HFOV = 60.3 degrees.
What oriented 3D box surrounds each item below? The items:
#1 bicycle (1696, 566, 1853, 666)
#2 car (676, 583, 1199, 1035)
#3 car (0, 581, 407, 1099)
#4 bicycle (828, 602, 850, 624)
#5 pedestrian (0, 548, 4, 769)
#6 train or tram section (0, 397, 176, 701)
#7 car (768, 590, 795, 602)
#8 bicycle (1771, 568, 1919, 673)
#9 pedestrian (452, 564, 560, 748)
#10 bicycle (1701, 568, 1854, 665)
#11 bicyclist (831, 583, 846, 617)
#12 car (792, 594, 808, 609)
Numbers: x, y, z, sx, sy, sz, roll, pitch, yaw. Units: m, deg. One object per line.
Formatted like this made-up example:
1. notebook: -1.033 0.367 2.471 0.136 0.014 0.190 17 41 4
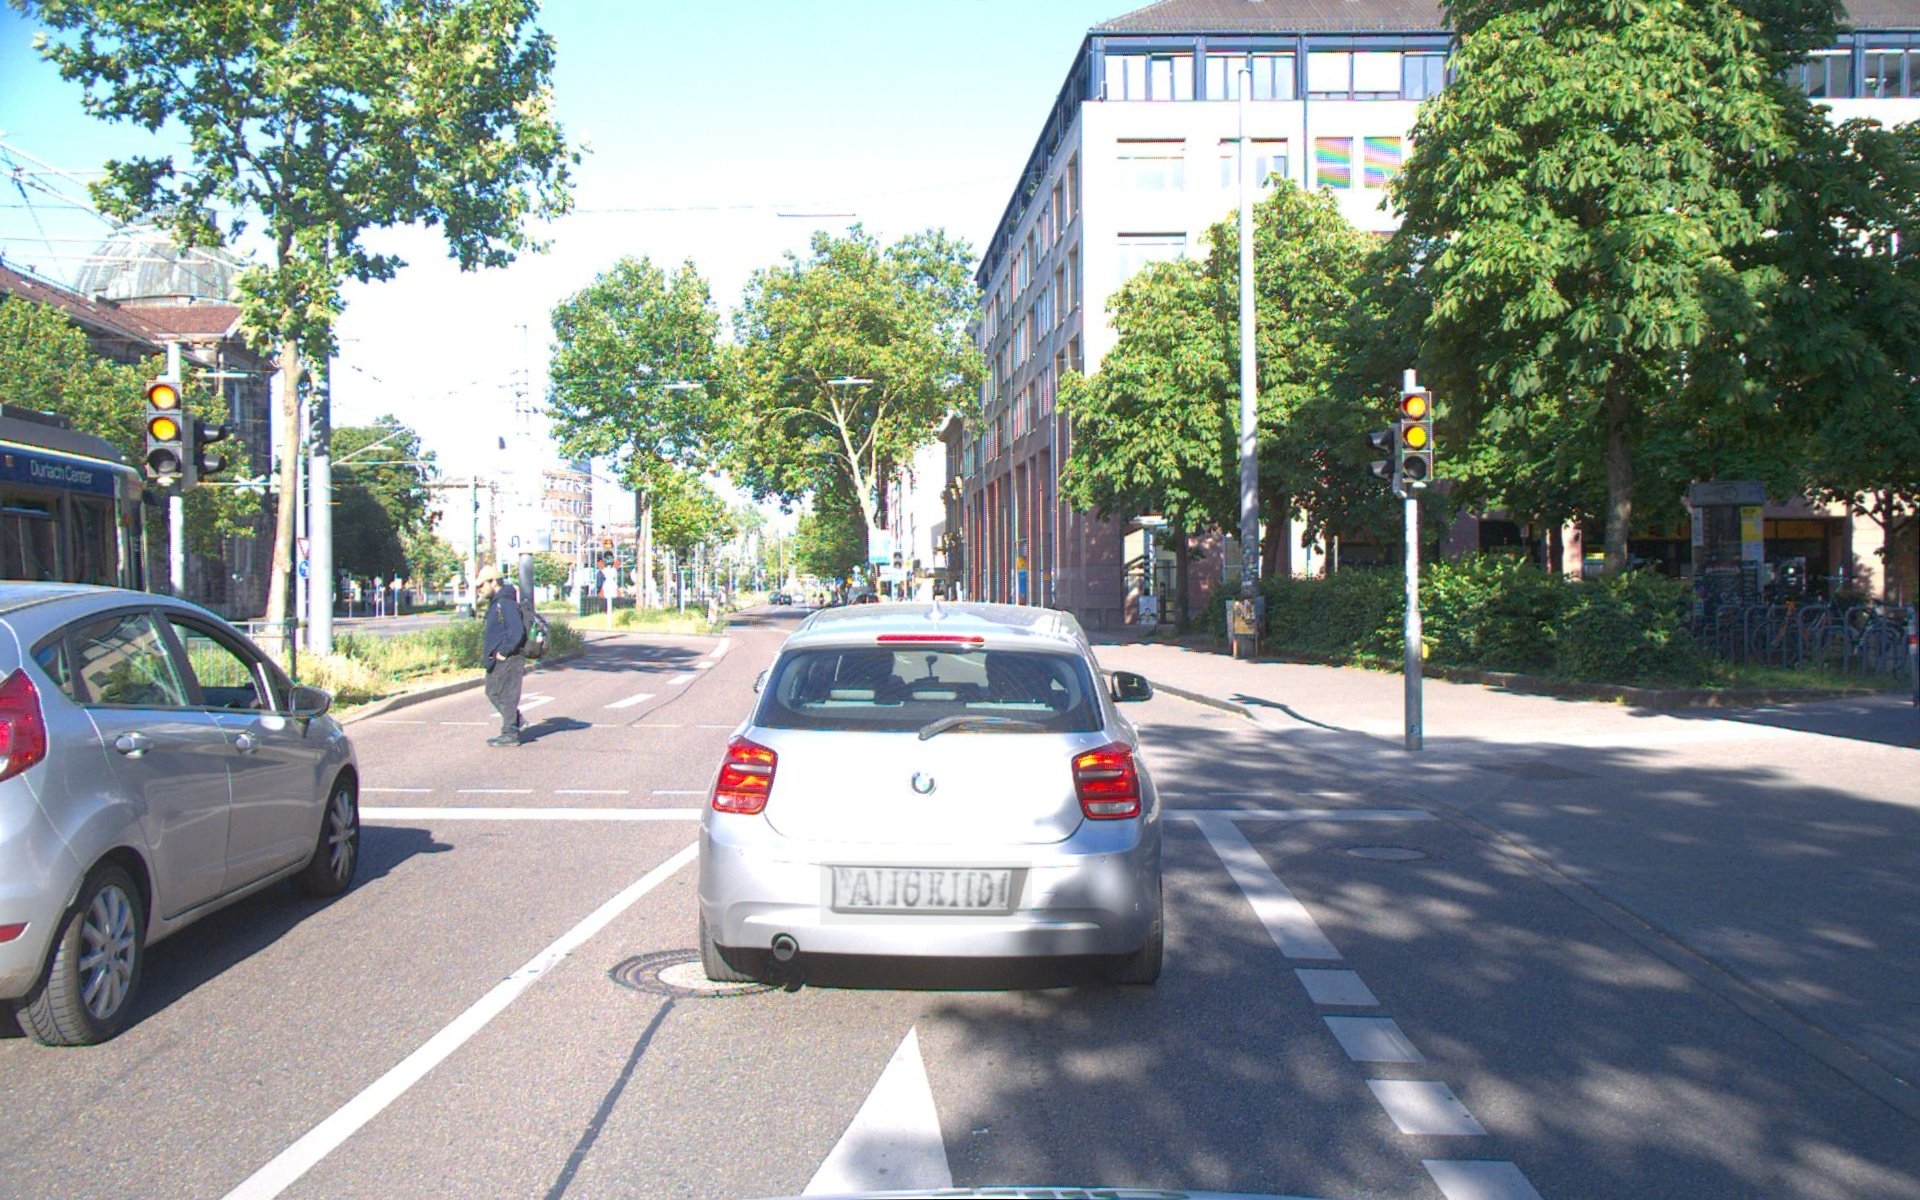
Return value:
1. bicycle: 11.675 0.226 23.732 1.956 1.337 0.574 -2 0 -2
2. car: 0.001 0.663 7.343 1.694 1.414 3.841 1 1 2
3. car: -3.472 0.658 6.344 1.627 1.434 3.630 1 0 -3
4. bicycle: -6.055 0.636 82.771 0.814 1.059 1.875 -1 0 4
5. pedestrian: -7.135 0.424 11.513 0.619 1.584 0.645 -1 0 -9
6. train or tram section: -11.743 -0.601 16.388 2.858 3.317 13.096 1 -1 -6
7. car: -22.510 -0.462 208.589 1.972 1.512 3.962 -1 0 -29
8. bicycle: 12.061 0.268 22.290 1.956 1.337 0.574 -2 0 -2
9. pedestrian: -4.176 0.504 15.266 0.925 1.657 0.626 0 0 -14
10. bicycle: 12.030 0.244 24.361 1.956 1.337 0.574 -2 0 -2
11. bicyclist: -6.082 0.009 82.767 0.644 1.686 0.765 -1 0 4
12. car: -23.782 0.251 245.223 1.953 2.049 3.999 1 -1 0
